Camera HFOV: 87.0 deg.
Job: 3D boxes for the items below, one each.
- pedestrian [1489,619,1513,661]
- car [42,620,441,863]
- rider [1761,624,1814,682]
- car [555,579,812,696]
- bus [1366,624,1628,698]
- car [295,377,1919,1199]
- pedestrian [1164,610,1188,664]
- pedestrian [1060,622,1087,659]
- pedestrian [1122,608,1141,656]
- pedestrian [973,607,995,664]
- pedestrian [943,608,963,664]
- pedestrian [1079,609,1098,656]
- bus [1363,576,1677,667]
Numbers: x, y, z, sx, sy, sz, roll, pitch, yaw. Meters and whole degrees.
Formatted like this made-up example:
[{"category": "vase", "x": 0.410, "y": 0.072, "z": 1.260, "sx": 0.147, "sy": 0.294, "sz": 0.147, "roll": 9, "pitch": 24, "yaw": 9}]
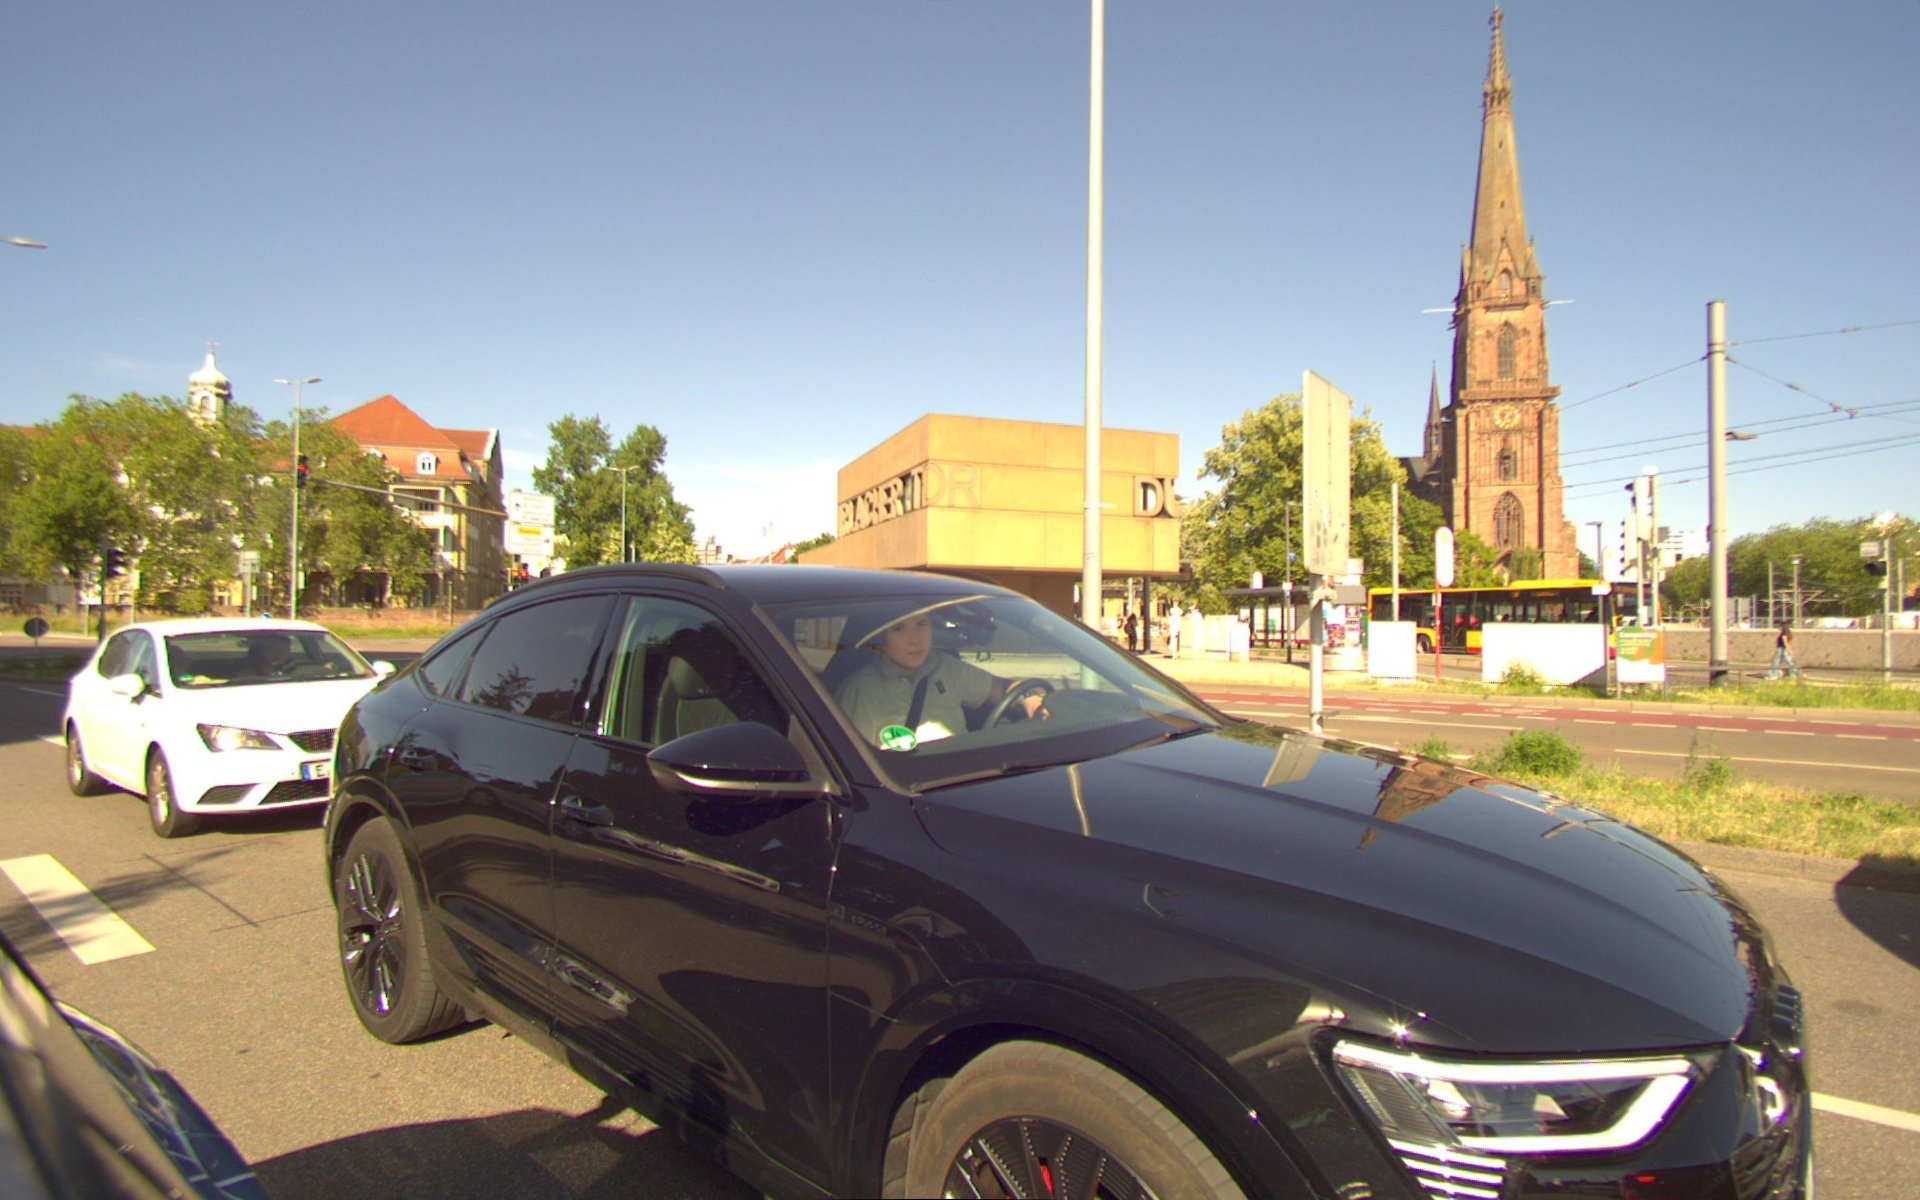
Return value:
[{"category": "pedestrian", "x": 19.691, "y": 1.451, "z": 36.845, "sx": 0.561, "sy": 1.525, "sz": 0.530, "roll": -1, "pitch": 0, "yaw": -20}, {"category": "car", "x": -5.641, "y": 0.877, "z": 7.799, "sx": 3.708, "sy": 1.429, "sz": 1.555, "roll": -1, "pitch": -1, "yaw": 39}, {"category": "rider", "x": 21.277, "y": 1.345, "z": 26.030, "sx": 0.659, "sy": 1.475, "sz": 0.863, "roll": 1, "pitch": -2, "yaw": -33}, {"category": "car", "x": -6.346, "y": 0.788, "z": 22.805, "sx": 6.198, "sy": 2.331, "sz": 2.092, "roll": -1, "pitch": -1, "yaw": 34}, {"category": "bus", "x": 10.091, "y": 1.092, "z": 19.177, "sx": 4.179, "sy": 1.251, "sz": 1.625, "roll": -1, "pitch": -2, "yaw": 39}, {"category": "car", "x": -0.202, "y": 0.665, "z": 3.006, "sx": 4.451, "sy": 1.627, "sz": 1.834, "roll": -1, "pitch": -2, "yaw": 41}, {"category": "pedestrian", "x": 7.287, "y": 1.243, "z": 34.163, "sx": 0.634, "sy": 1.789, "sz": 0.470, "roll": 1, "pitch": -2, "yaw": -26}, {"category": "pedestrian", "x": 4.117, "y": 1.466, "z": 36.653, "sx": 0.635, "sy": 1.320, "sz": 0.764, "roll": 1, "pitch": -2, "yaw": -37}, {"category": "pedestrian", "x": 6.509, "y": 1.205, "z": 38.384, "sx": 0.468, "sy": 1.789, "sz": 0.637, "roll": -1, "pitch": -2, "yaw": 39}, {"category": "pedestrian", "x": 0.752, "y": 1.109, "z": 31.807, "sx": 0.636, "sy": 1.789, "sz": 0.617, "roll": 0, "pitch": -1, "yaw": -4}, {"category": "pedestrian", "x": -0.215, "y": 1.148, "z": 32.368, "sx": 0.460, "sy": 1.789, "sz": 0.647, "roll": 0, "pitch": -1, "yaw": -18}, {"category": "pedestrian", "x": 5.054, "y": 1.269, "z": 39.694, "sx": 0.468, "sy": 1.789, "sz": 0.637, "roll": -1, "pitch": -2, "yaw": 39}, {"category": "bus", "x": 21.577, "y": 0.896, "z": 40.482, "sx": 2.715, "sy": 3.088, "sz": 12.200, "roll": 1, "pitch": -2, "yaw": -19}]
